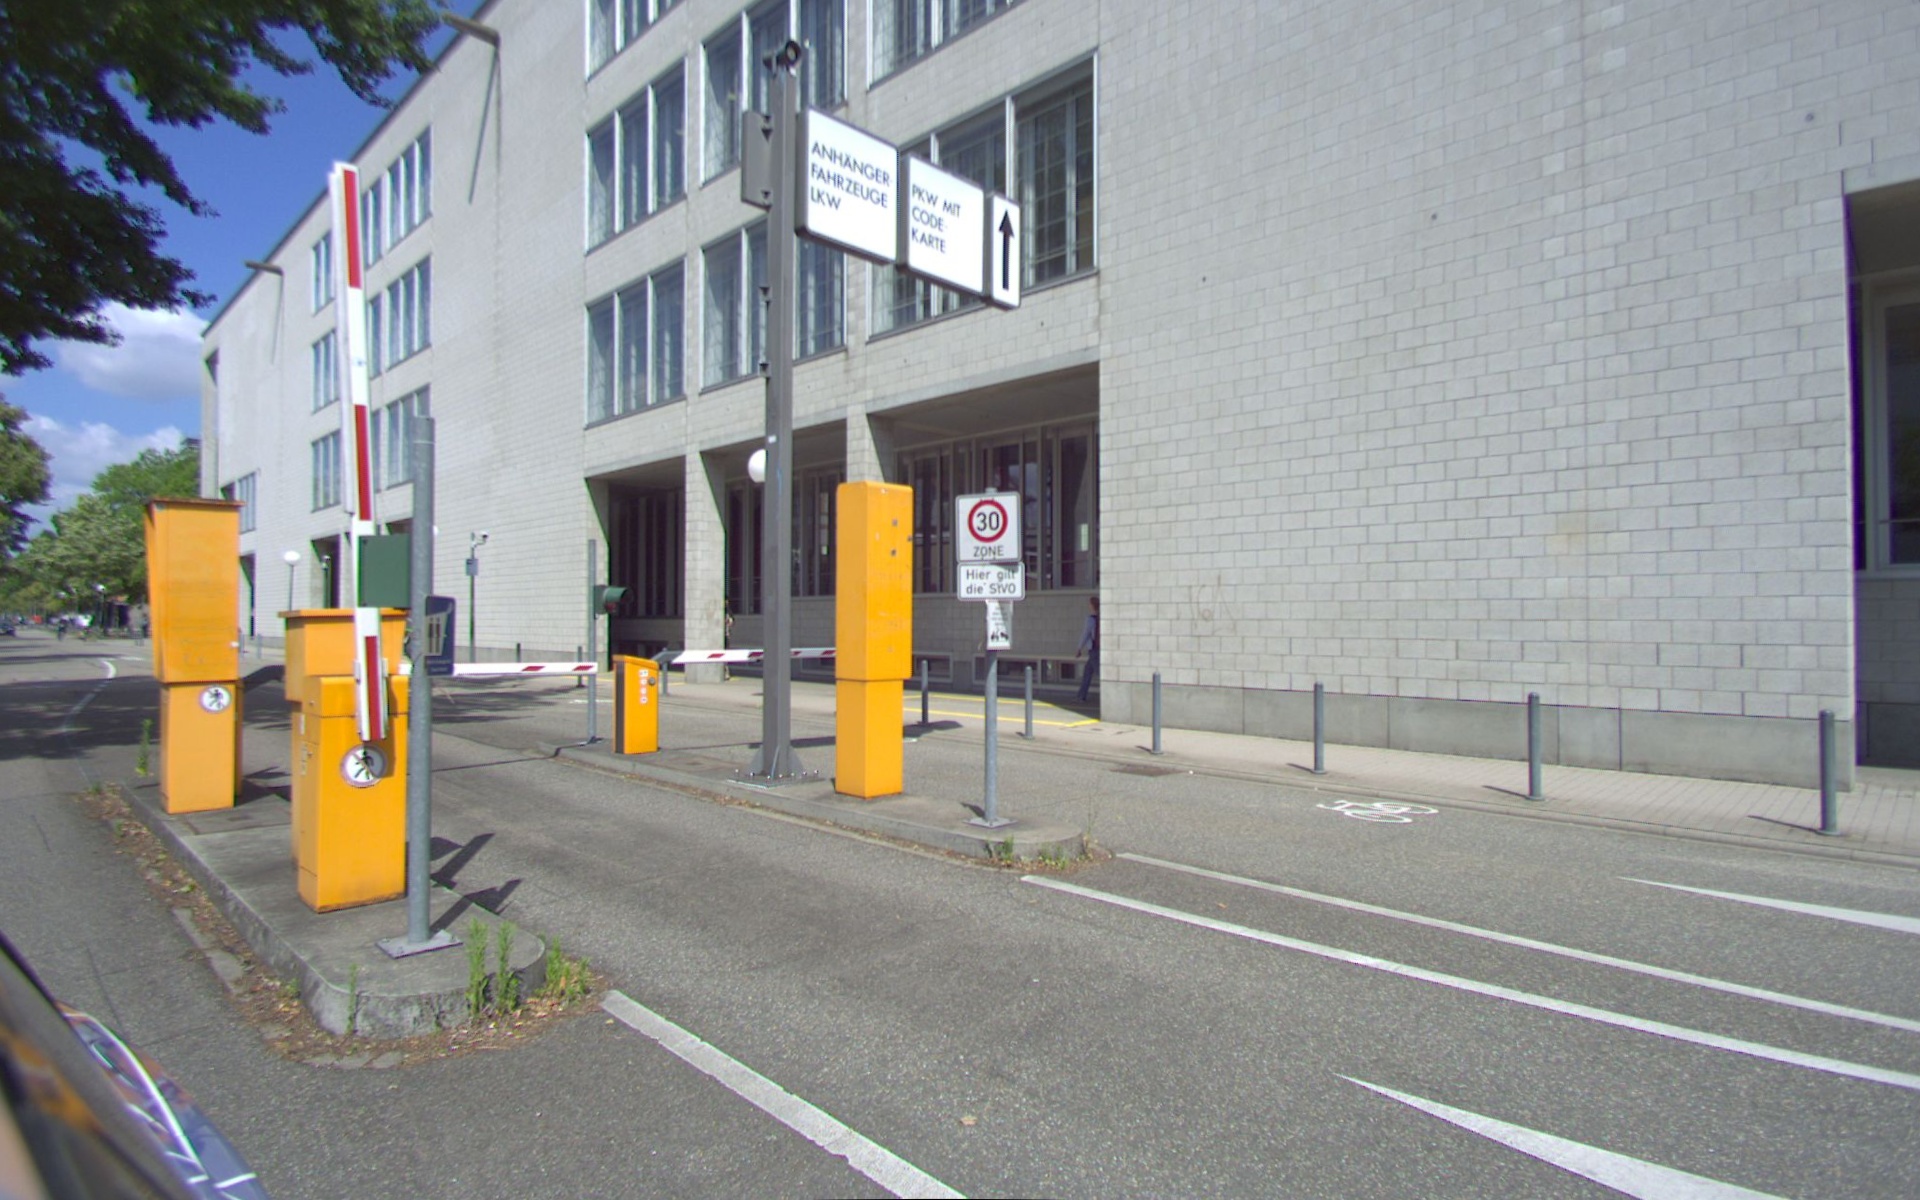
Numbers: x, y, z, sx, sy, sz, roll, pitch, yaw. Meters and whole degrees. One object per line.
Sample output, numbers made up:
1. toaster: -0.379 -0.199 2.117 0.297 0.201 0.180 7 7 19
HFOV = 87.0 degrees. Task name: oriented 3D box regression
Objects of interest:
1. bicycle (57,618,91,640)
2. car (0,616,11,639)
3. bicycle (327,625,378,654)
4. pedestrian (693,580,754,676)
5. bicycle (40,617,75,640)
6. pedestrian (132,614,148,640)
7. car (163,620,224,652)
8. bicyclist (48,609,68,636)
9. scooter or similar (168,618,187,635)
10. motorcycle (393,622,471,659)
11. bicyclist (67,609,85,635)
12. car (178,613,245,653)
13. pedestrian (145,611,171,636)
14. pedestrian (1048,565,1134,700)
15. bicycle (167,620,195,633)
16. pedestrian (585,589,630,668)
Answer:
1. bicycle: -60.639 1.965 69.290 1.912 1.505 0.638 0 -1 7
2. car: -78.265 2.260 81.990 1.970 1.829 4.003 1 -2 -44
3. bicycle: -23.795 1.530 39.657 0.607 1.095 1.622 -1 -1 39
4. pedestrian: -5.126 0.598 21.950 1.066 2.029 0.838 -1 -2 43
5. bicycle: -60.328 1.929 67.655 2.044 1.505 0.794 -1 -1 18
6. pedestrian: -57.697 1.885 71.213 0.749 1.738 1.238 -3 1 -34
7. car: -36.292 1.680 47.882 1.706 1.433 4.667 0 -1 -45
8. bicyclist: -60.258 1.522 67.609 0.727 1.790 0.758 -1 -1 17
9. scooter or similar: -57.008 1.932 73.722 0.702 1.200 1.620 0 0 -23
10. motorcycle: -17.300 1.304 33.192 0.773 1.146 2.147 -1 -2 35
11. bicyclist: -60.543 1.483 69.290 0.688 1.778 0.608 0 -1 6
12. car: -32.331 1.391 43.674 1.706 1.546 4.408 -2 1 -45
13. pedestrian: -61.067 1.779 77.065 1.370 1.838 1.380 -1 -1 44
14. pedestrian: 2.051 0.495 15.899 1.066 2.029 0.838 -1 -2 43
15. bicycle: -69.449 2.372 90.244 0.617 1.066 2.114 -1 0 15
16. pedestrian: -9.200 0.733 26.415 0.846 2.029 0.882 0 -1 -43
